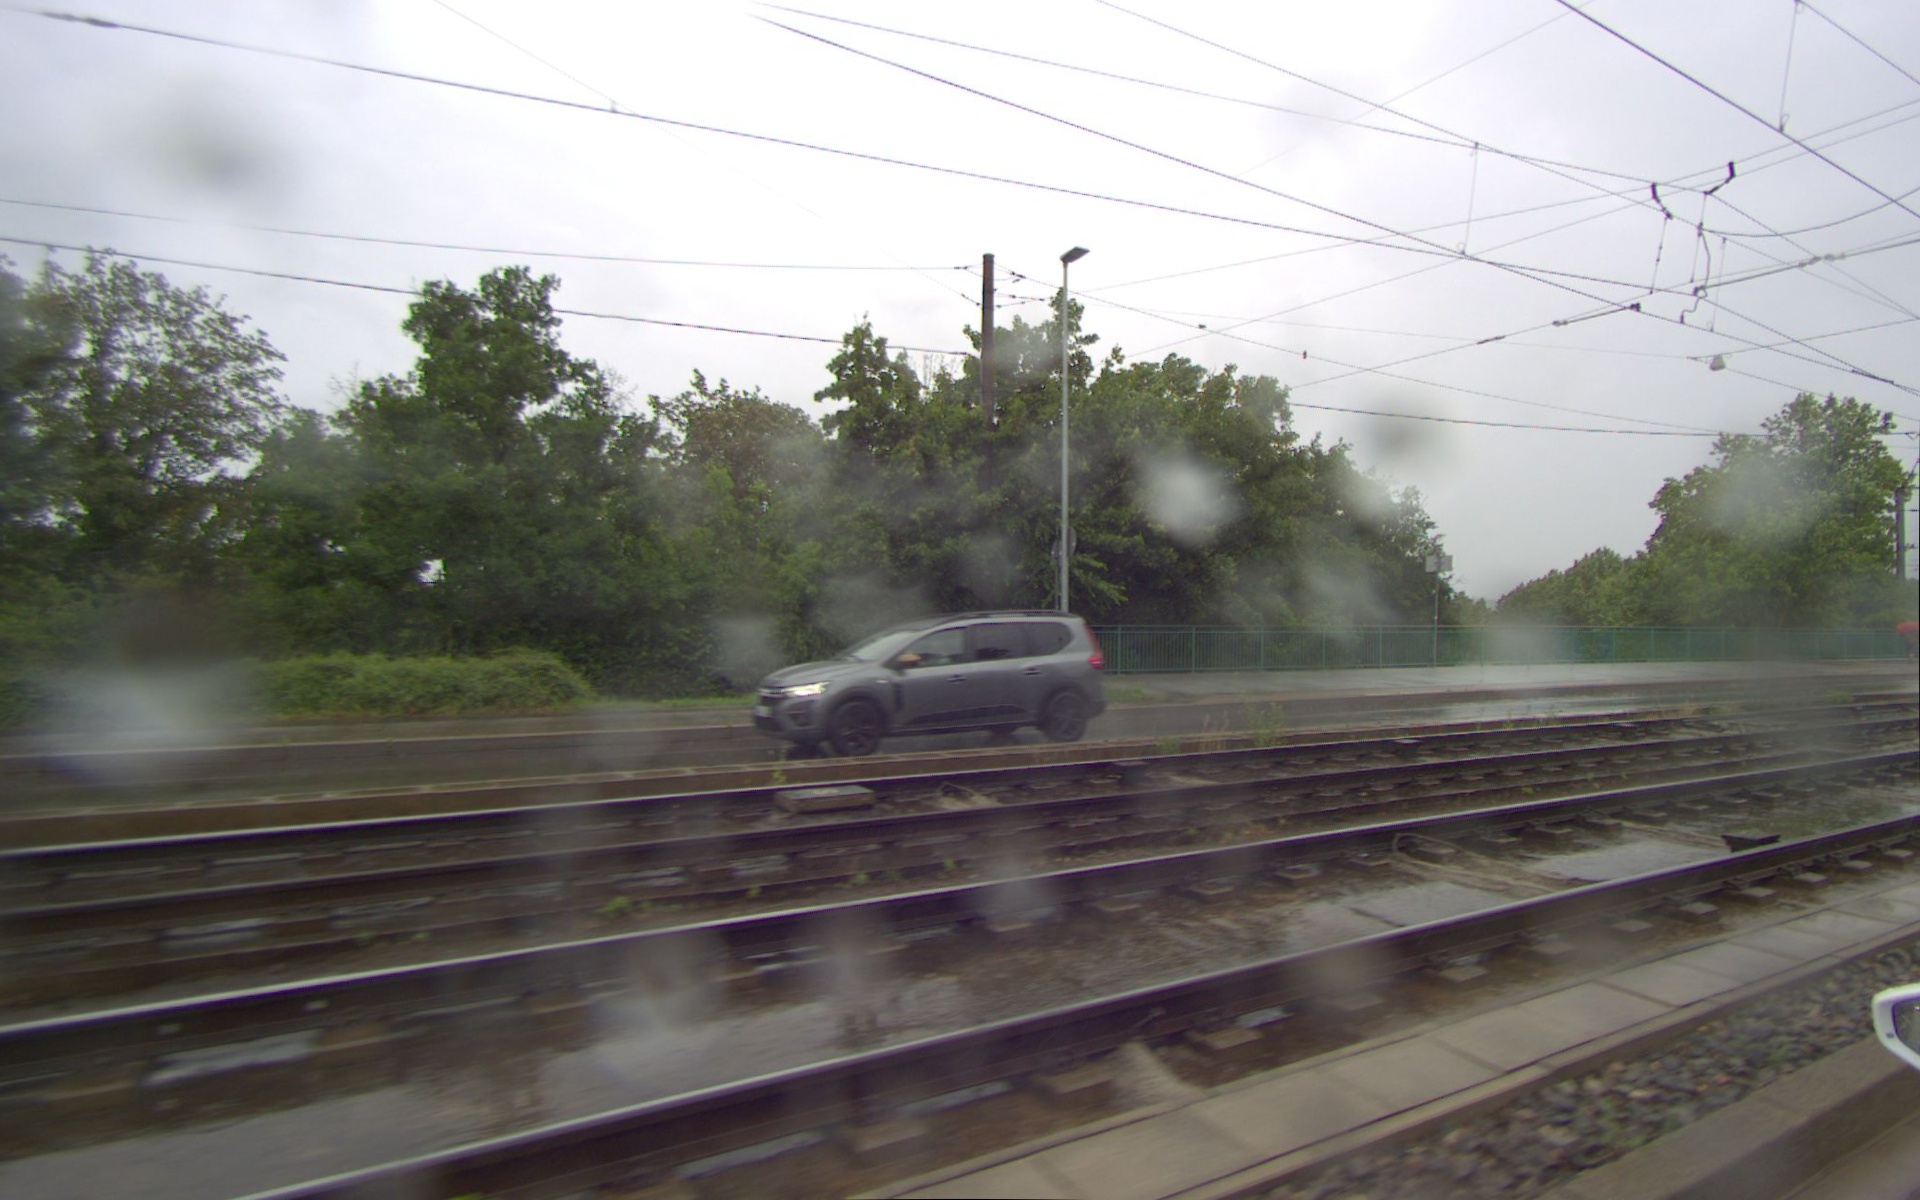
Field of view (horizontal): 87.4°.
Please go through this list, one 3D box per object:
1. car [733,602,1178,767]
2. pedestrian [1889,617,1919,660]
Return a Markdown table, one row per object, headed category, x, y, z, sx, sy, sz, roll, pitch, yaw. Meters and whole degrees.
| category | x | y | z | sx | sy | sz | roll | pitch | yaw |
| --- | --- | --- | --- | --- | --- | --- | --- | --- | --- |
| car | 0.057 | 0.931 | 12.606 | 5.309 | 1.671 | 1.983 | 1 | 0 | -31 |
| pedestrian | 41.908 | 1.716 | 44.443 | 1.030 | 1.843 | 0.861 | 2 | 0 | -28 |
